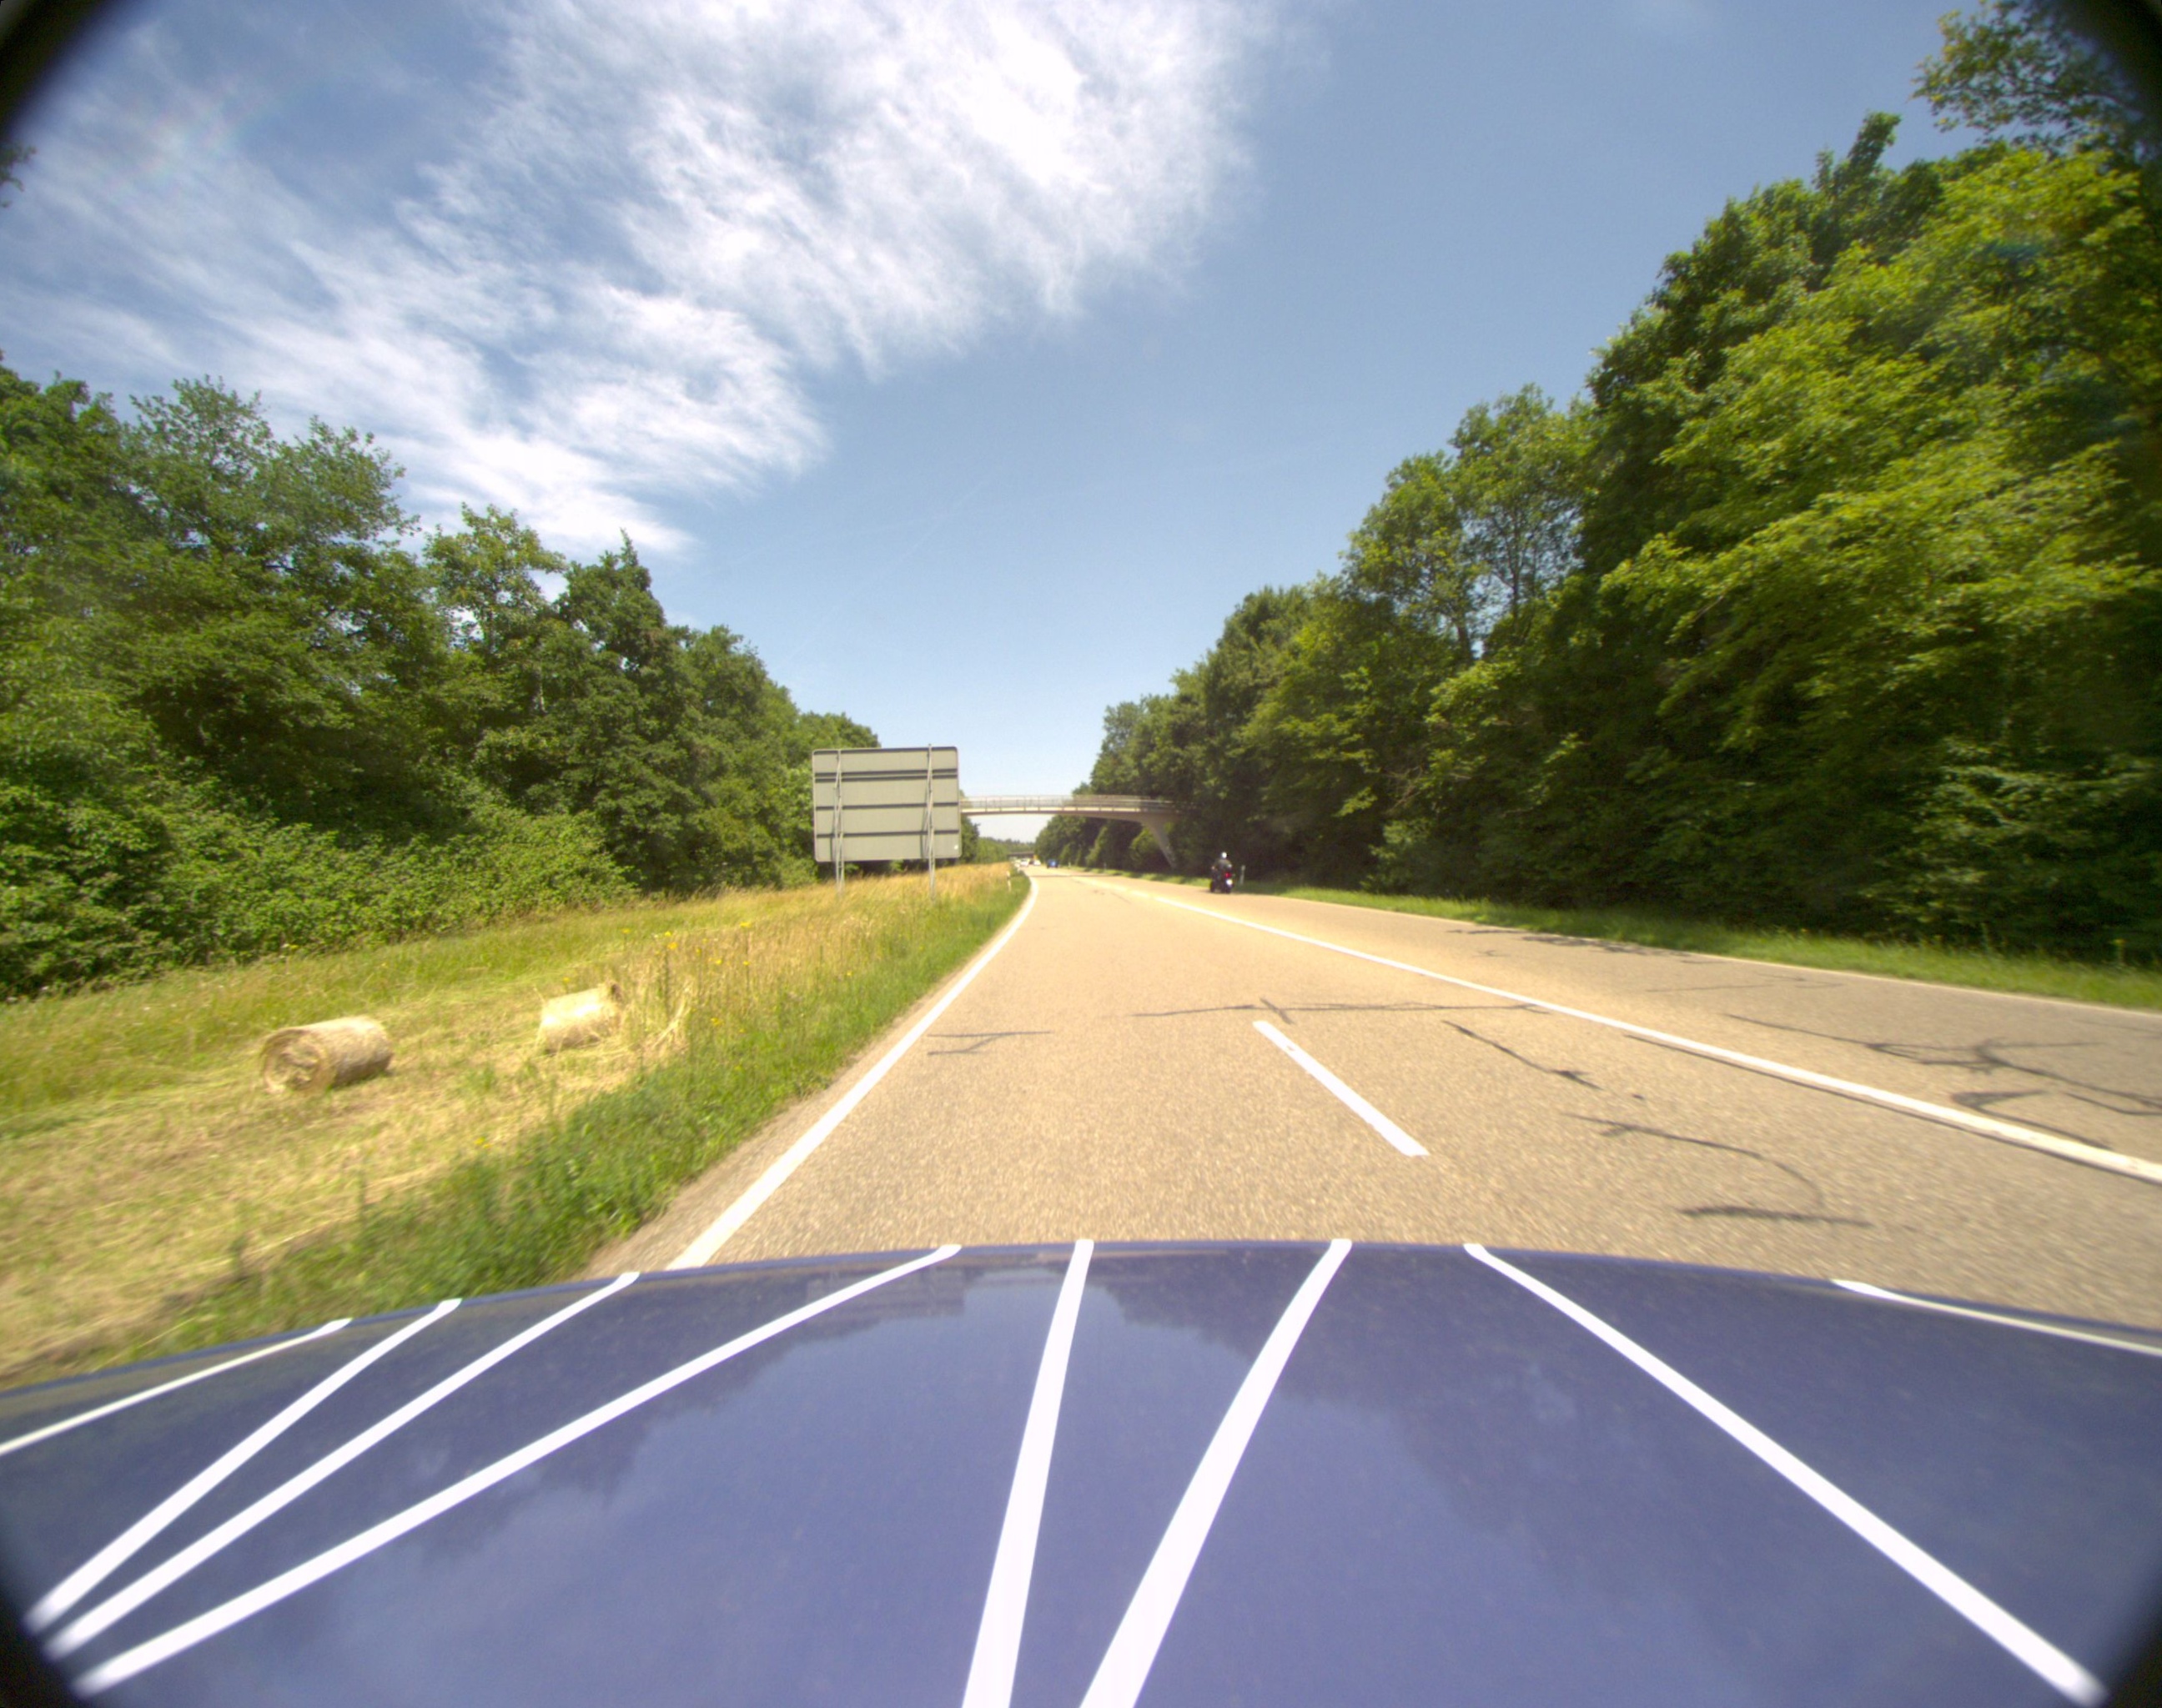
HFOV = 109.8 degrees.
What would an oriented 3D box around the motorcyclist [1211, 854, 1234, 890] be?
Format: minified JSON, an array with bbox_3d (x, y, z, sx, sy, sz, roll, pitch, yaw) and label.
[{"bbox_3d":[5.844,0.727,31.338,0.672,1.467,0.813,-1,1,-8],"label":"motorcyclist"}]

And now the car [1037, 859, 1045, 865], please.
[{"bbox_3d":[-10.922,2.182,205.837,1.866,1.747,3.998,-1,0,-6],"label":"car"}]

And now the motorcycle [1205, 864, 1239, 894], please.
[{"bbox_3d":[5.814,1.017,31.543,0.672,1.167,2.229,-1,0,-9],"label":"motorcycle"}]

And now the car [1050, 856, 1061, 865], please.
[{"bbox_3d":[-4.791,1.192,141.553,1.828,1.580,4.417,0,0,-5],"label":"car"}]

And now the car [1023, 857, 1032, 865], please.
[{"bbox_3d":[-12.524,1.715,177.336,1.866,1.747,3.998,-1,0,-6],"label":"car"}]

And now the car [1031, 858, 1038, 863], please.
[{"bbox_3d":[-15.128,2.159,247.640,1.866,1.747,3.998,-1,0,-6],"label":"car"}]
